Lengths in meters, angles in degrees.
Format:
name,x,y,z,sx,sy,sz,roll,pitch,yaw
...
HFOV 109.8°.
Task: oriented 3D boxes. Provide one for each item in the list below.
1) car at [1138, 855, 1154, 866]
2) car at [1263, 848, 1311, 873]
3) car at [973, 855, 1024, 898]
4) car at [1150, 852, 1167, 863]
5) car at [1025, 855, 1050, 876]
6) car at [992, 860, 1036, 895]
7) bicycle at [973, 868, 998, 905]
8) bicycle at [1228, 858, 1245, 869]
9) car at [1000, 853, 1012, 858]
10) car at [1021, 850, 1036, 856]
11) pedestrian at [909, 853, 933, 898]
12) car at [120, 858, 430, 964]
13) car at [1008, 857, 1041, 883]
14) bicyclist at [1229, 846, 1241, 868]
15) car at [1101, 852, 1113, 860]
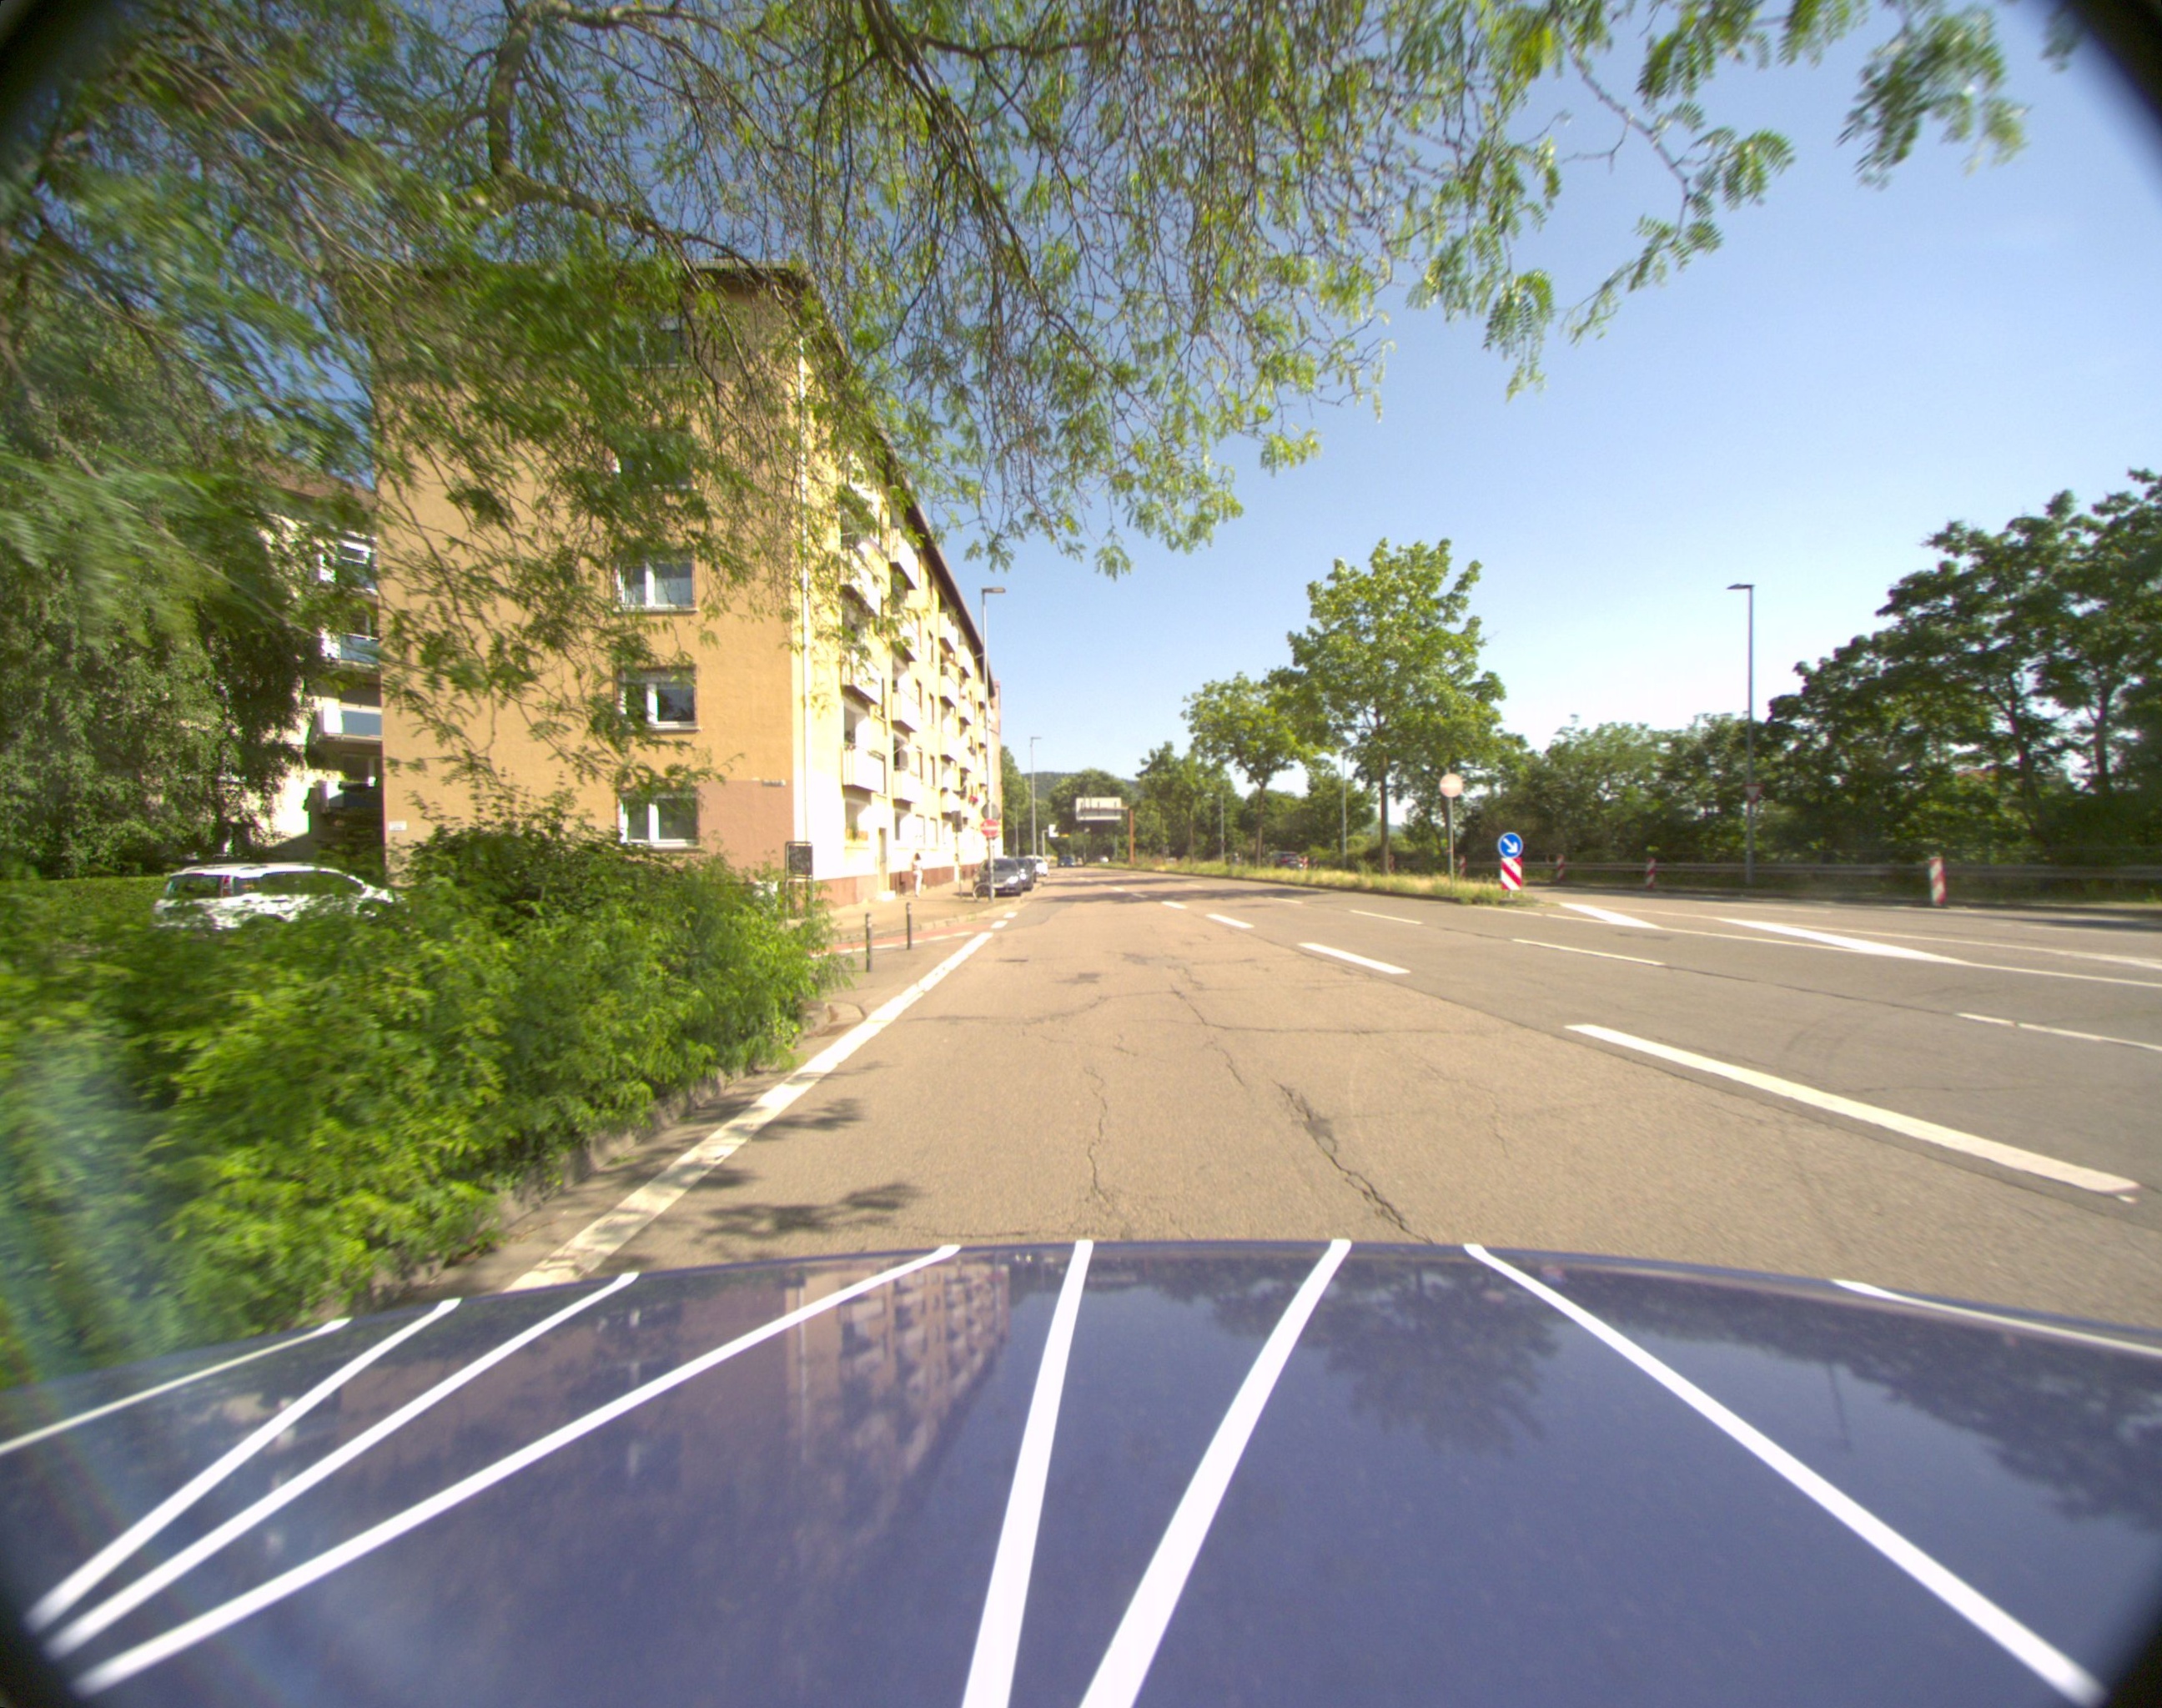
name,x,y,z,sx,sy,sz,roll,pitch,yaw
car,9.752,0.947,114.269,1.803,1.521,3.998,-1,0,-6
car,15.136,0.424,56.088,1.999,1.724,4.727,-1,0,-4
car,-3.068,0.827,28.880,1.708,1.505,4.090,1,0,-4
car,10.436,0.465,102.534,1.768,1.465,4.083,-1,0,-3
car,-3.322,0.833,57.871,1.761,1.497,4.126,-2,0,-3
car,-2.899,0.989,33.618,1.715,1.453,4.255,-1,0,-2
bicycle,-3.044,1.028,24.322,0.704,1.117,1.744,-1,0,-5
bicycle,13.531,0.788,66.224,0.695,0.900,2.340,-1,0,-10
car,-20.178,0.351,203.605,1.873,1.444,4.195,-1,0,-26
car,-13.411,-0.333,195.202,2.003,1.519,4.686,1,0,-30
pedestrian,-5.802,0.770,27.661,0.657,1.600,0.824,-1,1,1
car,-14.973,0.966,14.473,1.659,1.631,3.785,-1,1,4
car,-3.309,0.923,44.781,1.805,1.429,4.588,0,0,-4
bicyclist,13.475,0.263,66.429,0.699,1.821,1.016,-1,1,-10
car,4.856,0.306,143.202,1.650,1.408,3.968,-1,0,-7
